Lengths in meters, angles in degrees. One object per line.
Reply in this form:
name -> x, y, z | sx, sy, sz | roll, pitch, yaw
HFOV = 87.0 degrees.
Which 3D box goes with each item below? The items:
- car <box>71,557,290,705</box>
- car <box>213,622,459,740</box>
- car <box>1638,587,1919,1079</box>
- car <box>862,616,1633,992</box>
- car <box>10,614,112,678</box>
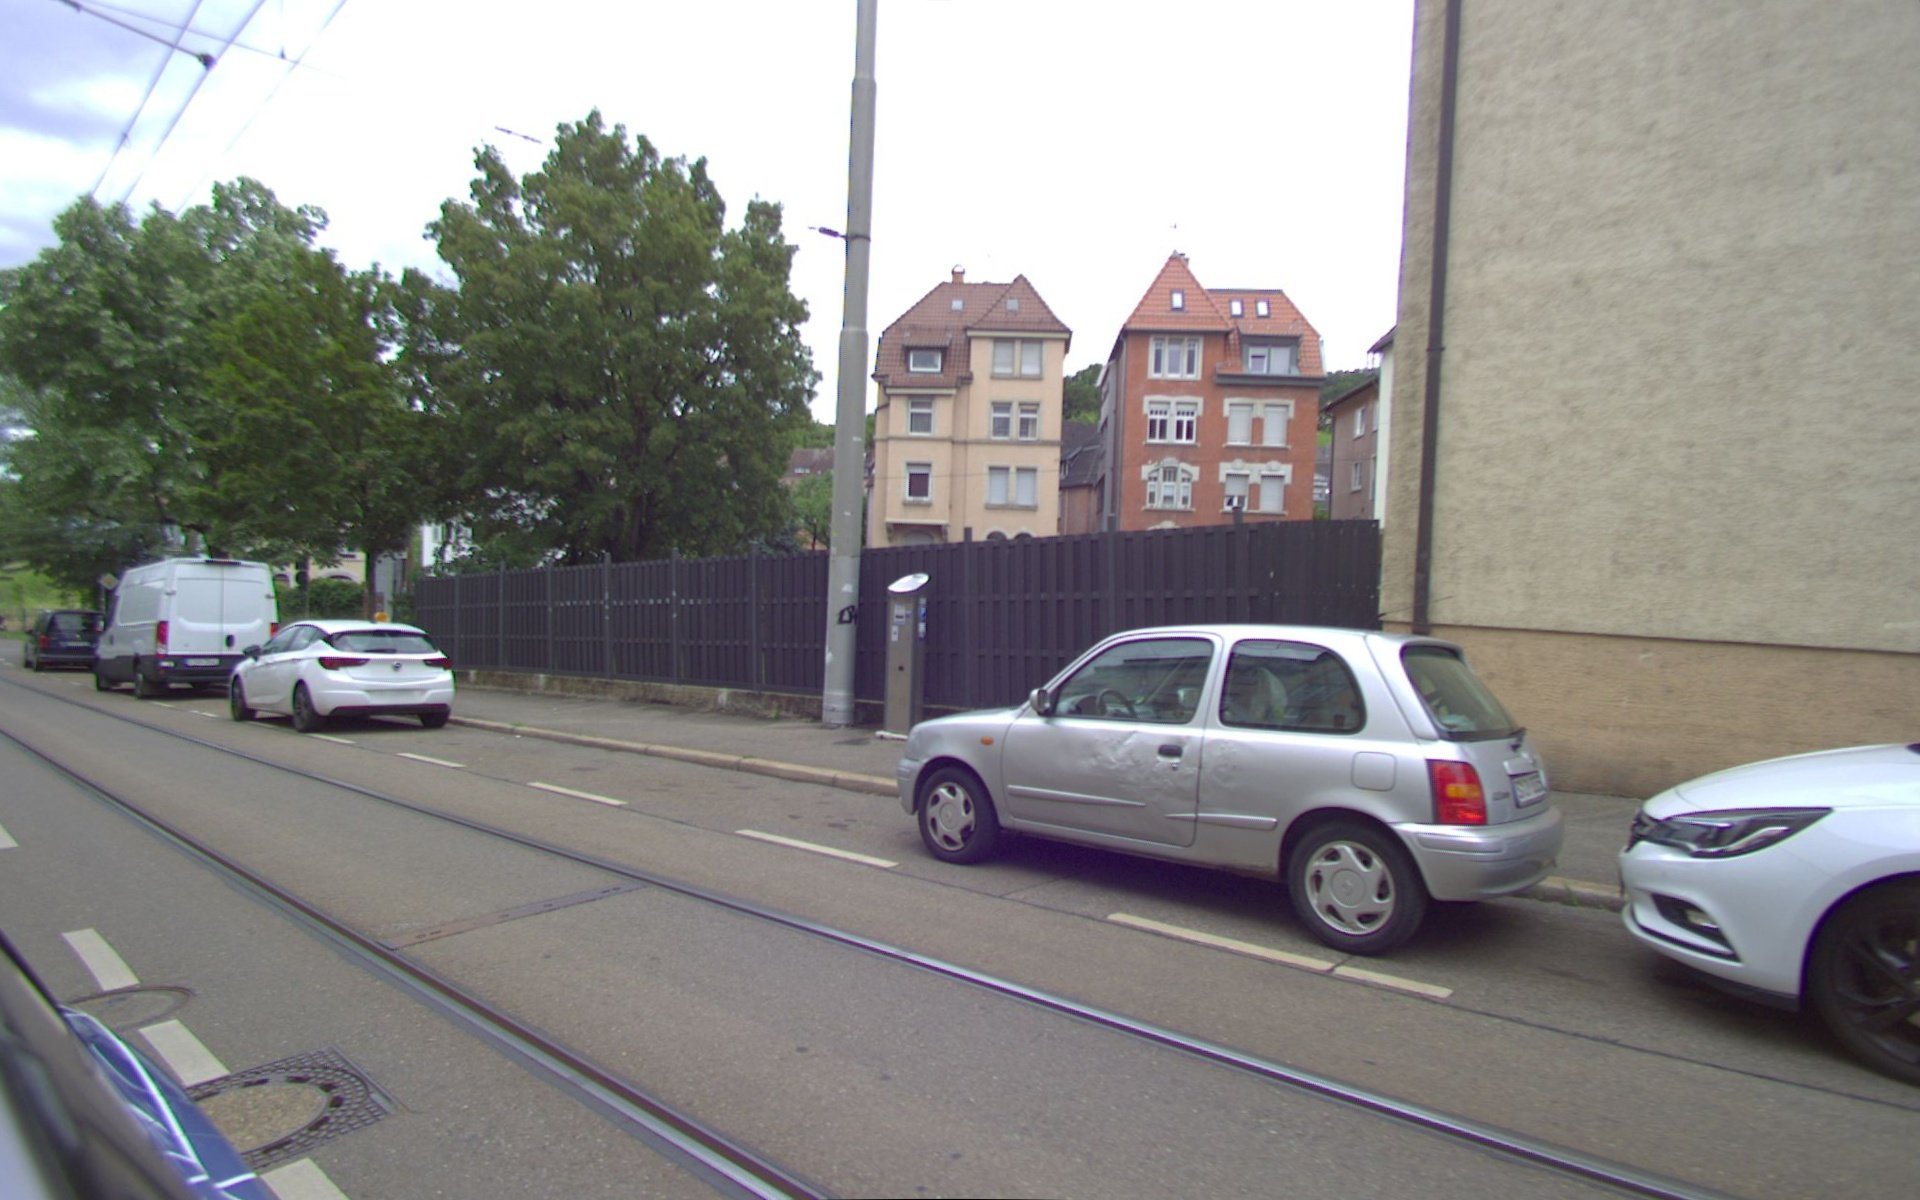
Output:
car -> -16.145, 0.654, 20.804 | 6.213, 2.627, 2.137 | -1, -4, 40
car -> -8.838, 1.056, 14.190 | 4.311, 1.413, 1.701 | -2, -4, 41
car -> 4.652, 0.704, 2.660 | 4.622, 1.440, 1.809 | -1, -4, 39
car -> 1.340, 0.840, 5.623 | 3.806, 1.379, 1.583 | -2, -5, 42
car -> -27.152, 1.369, 30.501 | 4.667, 1.789, 1.743 | -1, -4, 43
